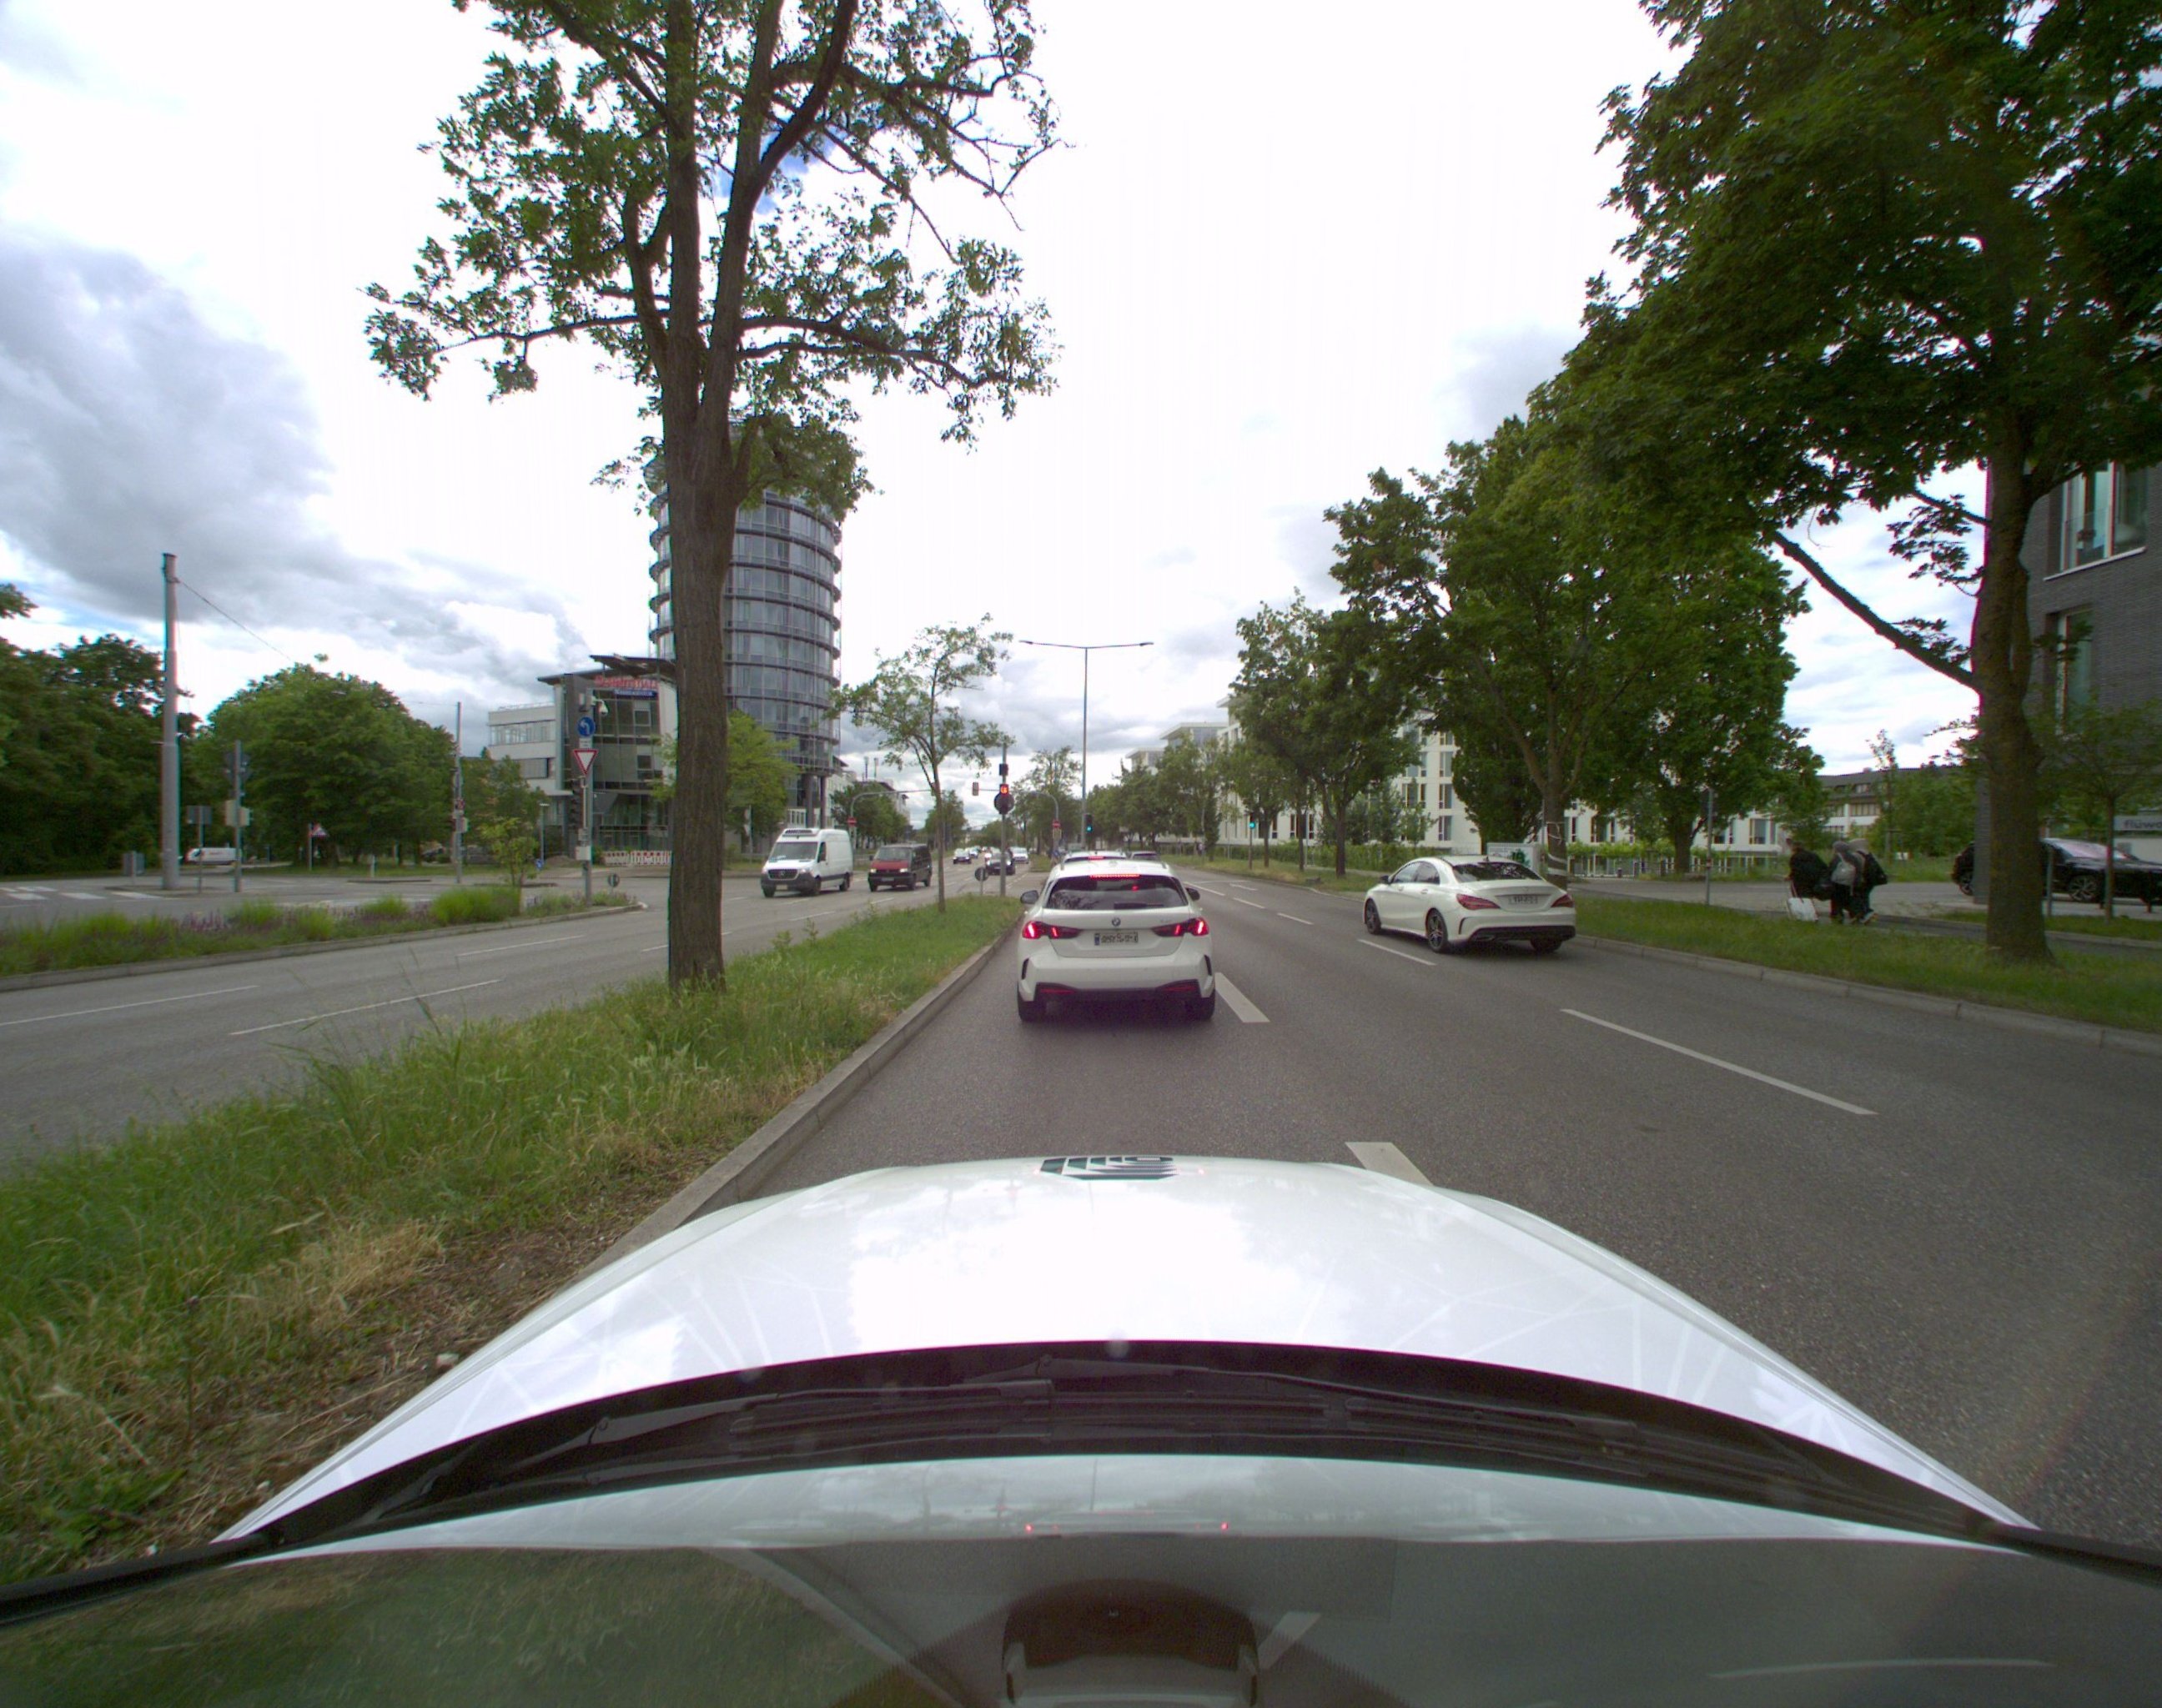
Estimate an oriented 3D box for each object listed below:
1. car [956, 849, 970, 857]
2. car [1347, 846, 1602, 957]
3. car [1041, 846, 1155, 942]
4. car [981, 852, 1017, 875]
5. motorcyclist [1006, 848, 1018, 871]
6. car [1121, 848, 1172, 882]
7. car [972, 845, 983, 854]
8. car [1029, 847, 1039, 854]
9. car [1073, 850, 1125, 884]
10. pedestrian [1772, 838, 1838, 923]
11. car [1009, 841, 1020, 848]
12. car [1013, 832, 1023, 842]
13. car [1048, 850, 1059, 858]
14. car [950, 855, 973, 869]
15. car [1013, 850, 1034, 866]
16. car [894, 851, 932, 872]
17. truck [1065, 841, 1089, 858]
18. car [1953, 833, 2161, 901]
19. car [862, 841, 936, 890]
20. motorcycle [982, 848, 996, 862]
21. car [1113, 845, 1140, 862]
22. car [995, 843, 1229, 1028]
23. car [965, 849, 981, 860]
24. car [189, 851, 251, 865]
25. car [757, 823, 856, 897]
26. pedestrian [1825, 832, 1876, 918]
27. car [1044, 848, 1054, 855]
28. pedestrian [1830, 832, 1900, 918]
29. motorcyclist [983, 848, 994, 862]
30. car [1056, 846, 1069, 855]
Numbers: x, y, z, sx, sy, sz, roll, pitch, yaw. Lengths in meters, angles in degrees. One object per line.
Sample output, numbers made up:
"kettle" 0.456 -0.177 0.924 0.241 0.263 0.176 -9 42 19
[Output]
"car" -19.933 -0.153 137.578 1.701 1.419 3.804 -1 0 2
"car" 6.022 0.644 13.219 1.789 1.472 4.696 0 0 -2
"car" 0.390 0.706 16.274 1.985 1.672 4.002 0 0 3
"car" -5.163 0.595 51.754 1.747 1.371 3.781 -1 0 2
"motorcyclist" -5.634 0.435 66.480 0.845 1.837 1.260 0 0 2
"car" 3.164 0.506 40.388 2.047 1.486 4.971 -2 0 -1
"car" -24.431 -1.061 191.978 1.988 2.011 4.322 0 0 -1
"car" -9.751 -0.726 168.634 1.988 1.490 3.999 1 0 -1
"car" 0.896 0.578 37.584 1.983 1.508 4.008 0 0 7
"pedestrian" 13.494 0.490 15.190 0.721 1.552 0.588 0 0 7
"car" -15.693 -2.241 192.191 1.986 1.618 4.002 2 0 2
"car" -13.553 -3.546 175.255 1.988 2.010 4.322 2 0 -1
"car" -5.546 0.030 164.816 1.992 1.508 3.990 0 0 -7
"car" -12.489 0.814 85.522 1.701 1.419 3.804 -1 0 2
"car" -5.840 0.394 83.433 1.701 1.497 3.804 -1 0 2
"car" -11.650 0.496 56.801 1.701 1.419 4.020 -1 0 1
"truck" -0.640 -0.590 121.878 2.856 2.519 6.272 0 0 -7
"car" 25.089 0.287 20.575 1.817 1.552 4.183 0 0 4
"car" -7.824 0.421 35.572 1.928 1.918 4.976 -2 1 2
"motorcycle" -9.440 0.128 84.016 0.886 1.398 4.002 0 0 2
"car" 4.351 -0.062 78.386 1.991 1.596 3.992 0 0 -6
"car" 0.387 0.652 8.453 1.855 1.449 4.004 0 0 4
"car" -15.682 0.069 118.043 1.701 1.419 3.804 -1 0 2
"car" -127.637 0.564 120.785 1.977 2.013 6.012 0 0 19
"car" -10.771 0.207 32.507 1.988 2.634 5.872 2 0 -1
"pedestrian" 14.267 0.387 15.105 0.407 1.552 0.563 2 -1 7
"car" -6.570 -0.542 167.908 1.988 1.490 3.999 1 0 -1
"pedestrian" 14.623 0.376 15.204 0.586 1.552 0.745 1 0 7
"motorcyclist" -9.463 0.070 83.472 0.906 1.392 1.674 0 0 2
"car" -3.207 -0.590 140.320 1.991 1.508 3.993 0 0 -5
